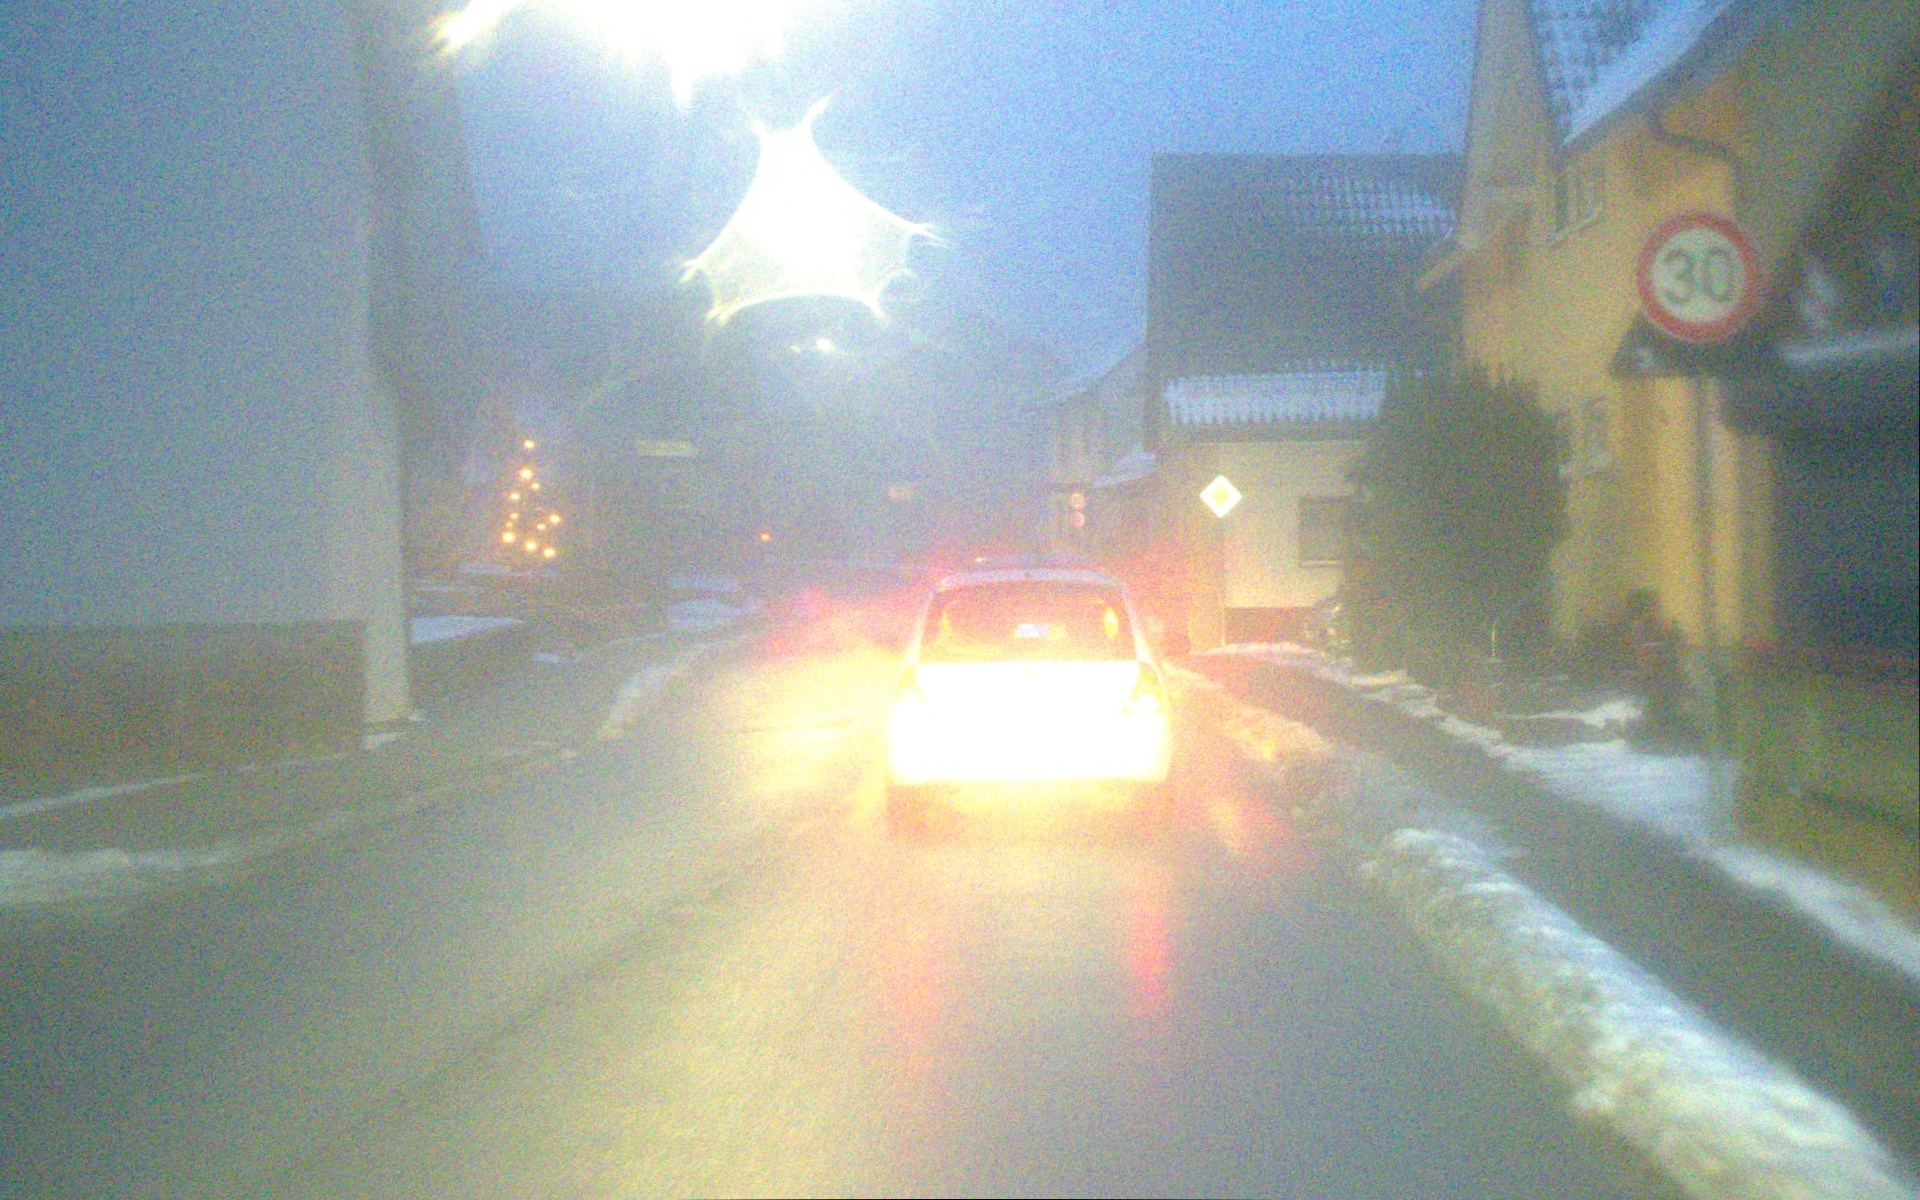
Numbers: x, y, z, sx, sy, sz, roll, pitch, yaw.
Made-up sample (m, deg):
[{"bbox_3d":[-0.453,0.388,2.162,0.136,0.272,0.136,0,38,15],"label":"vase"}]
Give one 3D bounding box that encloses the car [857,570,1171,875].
[{"bbox_3d":[0.375,0.653,20.057,1.645,1.590,3.699,1,0,3],"label":"car"}]
